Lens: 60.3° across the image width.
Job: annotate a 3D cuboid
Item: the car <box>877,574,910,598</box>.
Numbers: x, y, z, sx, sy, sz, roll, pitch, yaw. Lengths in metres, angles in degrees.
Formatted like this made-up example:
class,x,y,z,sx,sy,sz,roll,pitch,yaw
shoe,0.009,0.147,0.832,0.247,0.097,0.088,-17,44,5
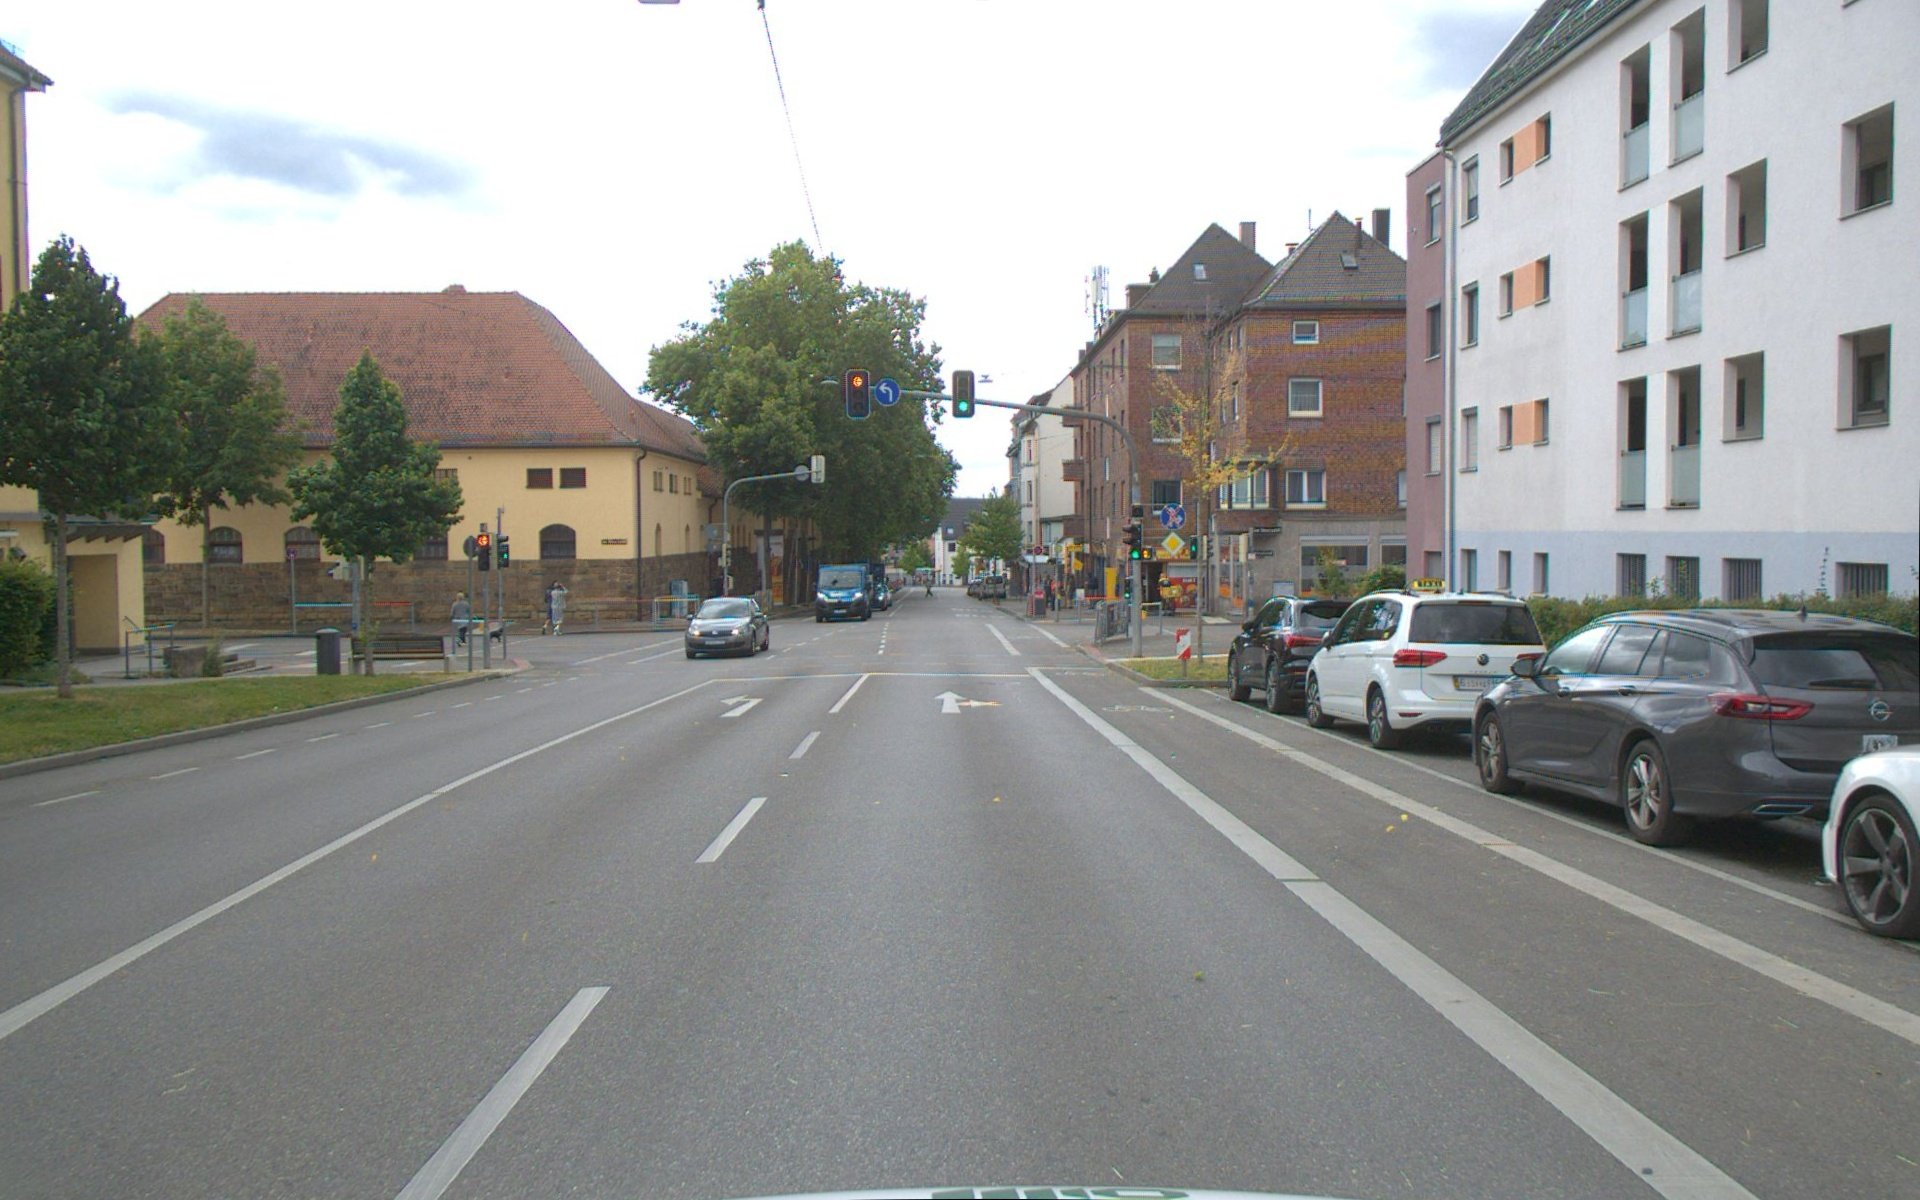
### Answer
class,x,y,z,sx,sy,sz,roll,pitch,yaw
car,-3.901,-0.812,97.235,1.651,1.298,4.095,-3,0,1

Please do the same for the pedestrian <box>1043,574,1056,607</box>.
class,x,y,z,sx,sy,sz,roll,pitch,yaw
pedestrian,4.741,-0.495,87.458,0.656,1.758,0.764,0,0,4

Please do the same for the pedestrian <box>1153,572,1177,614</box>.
class,x,y,z,sx,sy,sz,roll,pitch,yaw
pedestrian,8.284,-0.287,66.817,0.772,1.685,0.772,-3,0,-1

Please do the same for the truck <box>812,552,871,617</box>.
class,x,y,z,sx,sy,sz,roll,pitch,yaw
truck,-4.847,-0.636,68.120,2.250,2.469,6.407,-2,1,-4

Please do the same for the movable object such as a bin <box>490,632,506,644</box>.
class,x,y,z,sx,sy,sz,roll,pitch,yaw
movable object such as a bin,-14.357,1.183,51.371,0.300,0.353,0.581,0,1,4

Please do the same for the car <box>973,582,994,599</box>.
class,x,y,z,sx,sy,sz,roll,pitch,yaw
car,2.198,-0.935,155.851,1.635,1.574,3.754,0,1,-4

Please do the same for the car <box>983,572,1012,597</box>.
class,x,y,z,sx,sy,sz,roll,pitch,yaw
car,2.983,-1.229,132.454,1.954,1.969,4.915,0,1,-4

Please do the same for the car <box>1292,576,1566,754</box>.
class,x,y,z,sx,sy,sz,roll,pitch,yaw
car,5.108,0.622,18.675,1.625,1.746,4.550,1,1,-2

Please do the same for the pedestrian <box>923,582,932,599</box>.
class,x,y,z,sx,sy,sz,roll,pitch,yaw
pedestrian,-2.943,-0.902,151.112,0.663,1.563,0.607,0,0,-21

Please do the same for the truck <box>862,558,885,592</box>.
class,x,y,z,sx,sy,sz,roll,pitch,yaw
truck,-8.763,-2.504,168.265,2.186,3.405,7.447,0,1,-2

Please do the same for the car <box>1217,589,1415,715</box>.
class,x,y,z,sx,sy,sz,roll,pitch,yaw
car,5.008,0.681,23.874,1.699,1.616,4.570,1,0,-2

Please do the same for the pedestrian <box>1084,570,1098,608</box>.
class,x,y,z,sx,sy,sz,roll,pitch,yaw
pedestrian,6.096,-0.504,77.172,0.633,1.780,0.778,0,0,4

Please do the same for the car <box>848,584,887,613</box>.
class,x,y,z,sx,sy,sz,roll,pitch,yaw
car,-4.756,-0.097,85.365,1.668,1.439,4.193,-2,1,1

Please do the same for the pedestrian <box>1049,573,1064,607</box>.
class,x,y,z,sx,sy,sz,roll,pitch,yaw
pedestrian,4.659,-0.491,79.910,0.553,1.665,0.681,0,0,19

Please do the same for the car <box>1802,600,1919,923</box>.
class,x,y,z,sx,sy,sz,roll,pitch,yaw
car,5.260,0.761,6.177,1.696,1.438,4.496,1,1,-4

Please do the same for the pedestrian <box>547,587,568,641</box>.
class,x,y,z,sx,sy,sz,roll,pitch,yaw
pedestrian,-13.707,0.467,56.312,0.552,1.808,0.717,0,0,-2

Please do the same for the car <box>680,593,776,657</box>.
class,x,y,z,sx,sy,sz,roll,pitch,yaw
car,-5.972,0.604,42.961,1.720,1.498,4.308,-2,1,2

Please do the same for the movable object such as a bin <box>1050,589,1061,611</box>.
class,x,y,z,sx,sy,sz,roll,pitch,yaw
movable object such as a bin,4.594,-0.012,79.735,0.443,1.075,0.410,0,0,19

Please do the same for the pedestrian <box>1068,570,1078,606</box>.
class,x,y,z,sx,sy,sz,roll,pitch,yaw
pedestrian,5.732,-0.621,83.948,0.469,1.796,0.458,0,0,-1

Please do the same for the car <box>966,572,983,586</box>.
class,x,y,z,sx,sy,sz,roll,pitch,yaw
car,1.595,-2.396,185.575,1.635,1.574,3.754,0,1,-4

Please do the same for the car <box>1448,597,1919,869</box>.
class,x,y,z,sx,sy,sz,roll,pitch,yaw
car,5.196,0.760,11.907,1.710,1.493,4.947,1,1,-2

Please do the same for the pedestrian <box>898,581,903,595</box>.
class,x,y,z,sx,sy,sz,roll,pitch,yaw
pedestrian,-8.326,-1.662,231.178,0.620,2.049,0.784,0,0,0

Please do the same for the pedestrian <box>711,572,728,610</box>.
class,x,y,z,sx,sy,sz,roll,pitch,yaw
pedestrian,-11.518,-0.436,79.213,0.660,1.796,0.726,0,0,1

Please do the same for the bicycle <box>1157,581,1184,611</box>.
class,x,y,z,sx,sy,sz,roll,pitch,yaw
bicycle,8.453,-0.173,66.455,0.744,1.214,2.391,0,1,-1

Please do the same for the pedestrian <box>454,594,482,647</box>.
class,x,y,z,sx,sy,sz,roll,pitch,yaw
pedestrian,-14.970,0.618,50.357,0.552,1.594,0.843,0,0,4

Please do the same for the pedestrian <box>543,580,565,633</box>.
class,x,y,z,sx,sy,sz,roll,pitch,yaw
pedestrian,-14.026,0.228,57.091,0.552,1.808,0.842,0,0,-1
